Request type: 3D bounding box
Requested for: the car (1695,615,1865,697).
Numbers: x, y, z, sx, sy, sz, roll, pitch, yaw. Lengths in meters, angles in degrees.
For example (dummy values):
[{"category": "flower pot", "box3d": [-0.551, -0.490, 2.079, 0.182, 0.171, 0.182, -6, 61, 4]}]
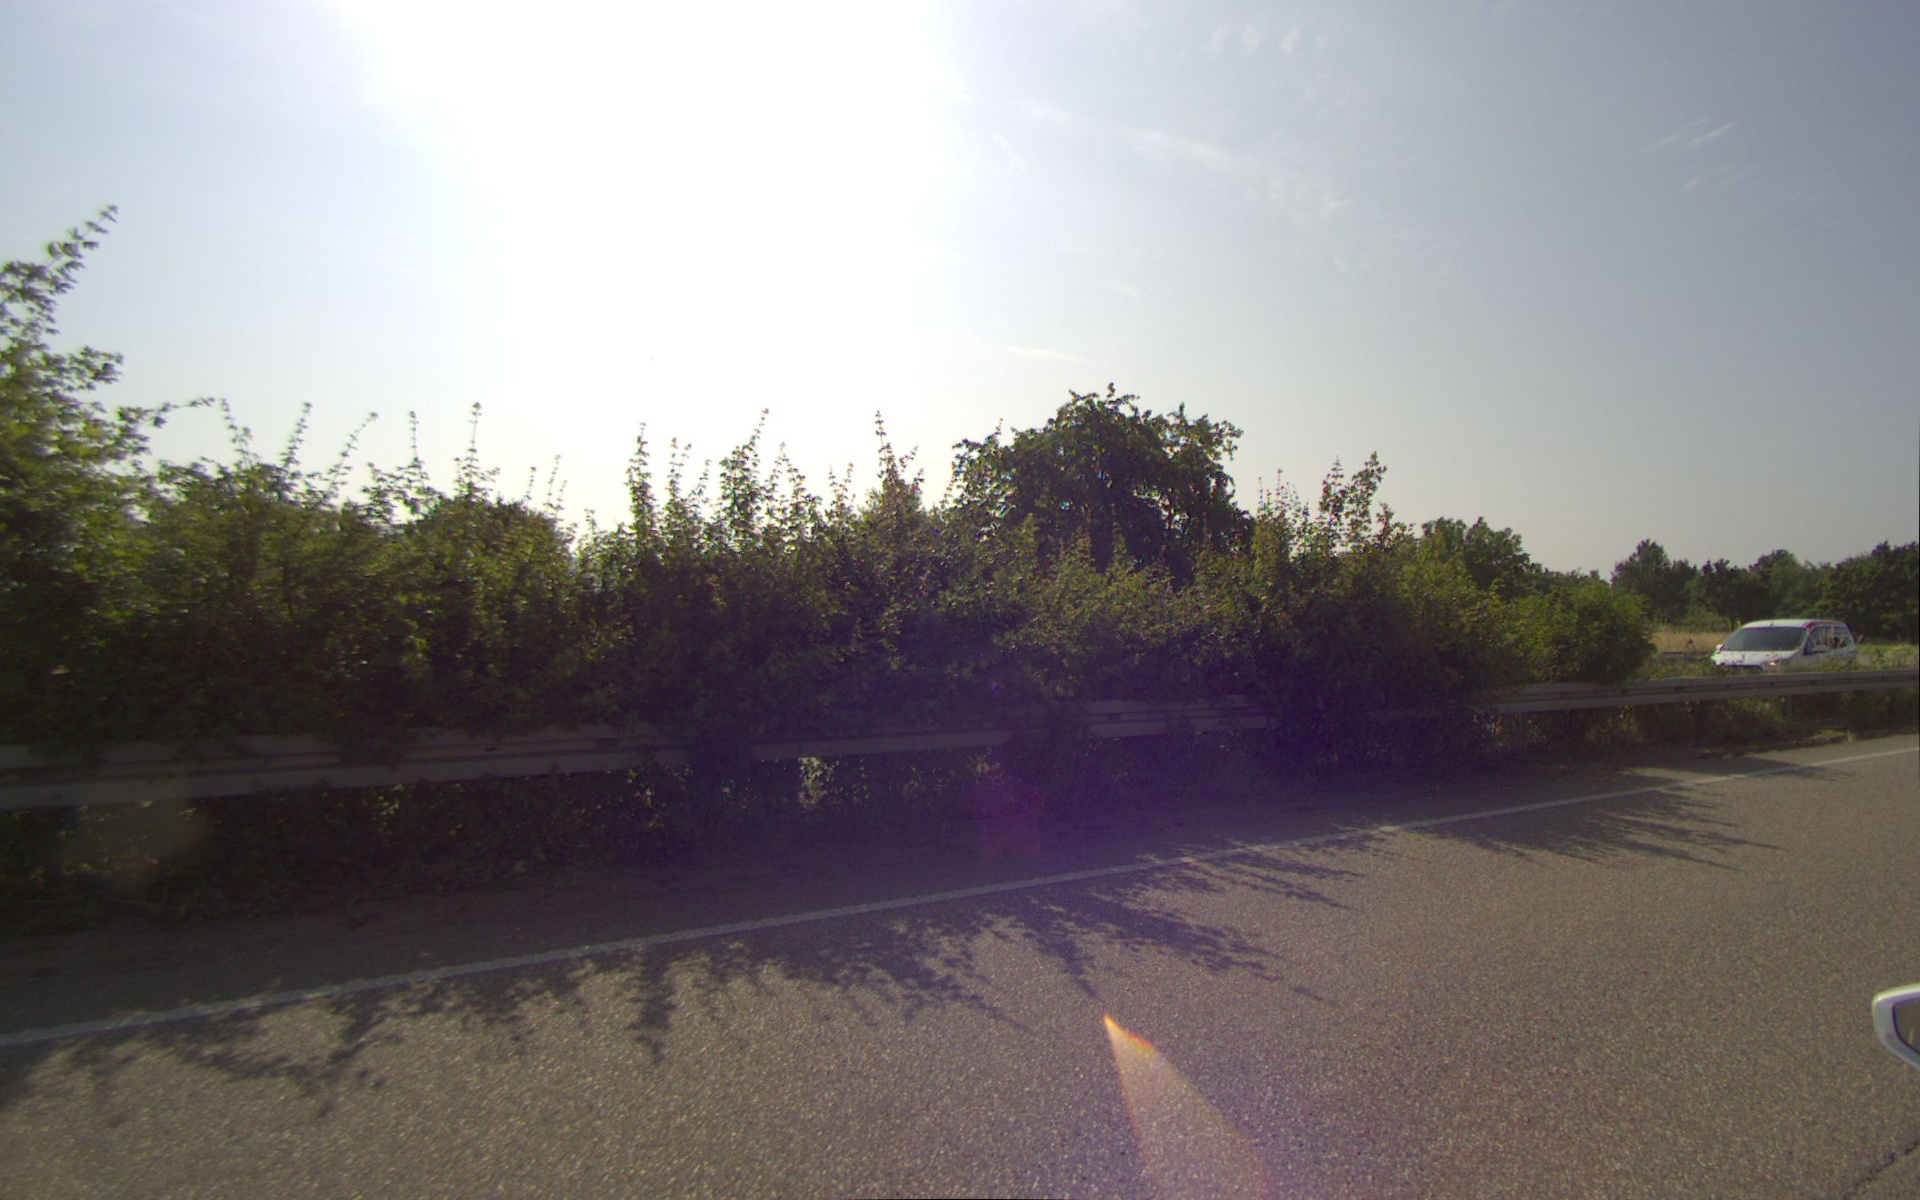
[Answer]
[{"category": "car", "box3d": [18.269, 1.195, 22.350, 3.953, 1.663, 1.652, 1, 0, -30]}]
